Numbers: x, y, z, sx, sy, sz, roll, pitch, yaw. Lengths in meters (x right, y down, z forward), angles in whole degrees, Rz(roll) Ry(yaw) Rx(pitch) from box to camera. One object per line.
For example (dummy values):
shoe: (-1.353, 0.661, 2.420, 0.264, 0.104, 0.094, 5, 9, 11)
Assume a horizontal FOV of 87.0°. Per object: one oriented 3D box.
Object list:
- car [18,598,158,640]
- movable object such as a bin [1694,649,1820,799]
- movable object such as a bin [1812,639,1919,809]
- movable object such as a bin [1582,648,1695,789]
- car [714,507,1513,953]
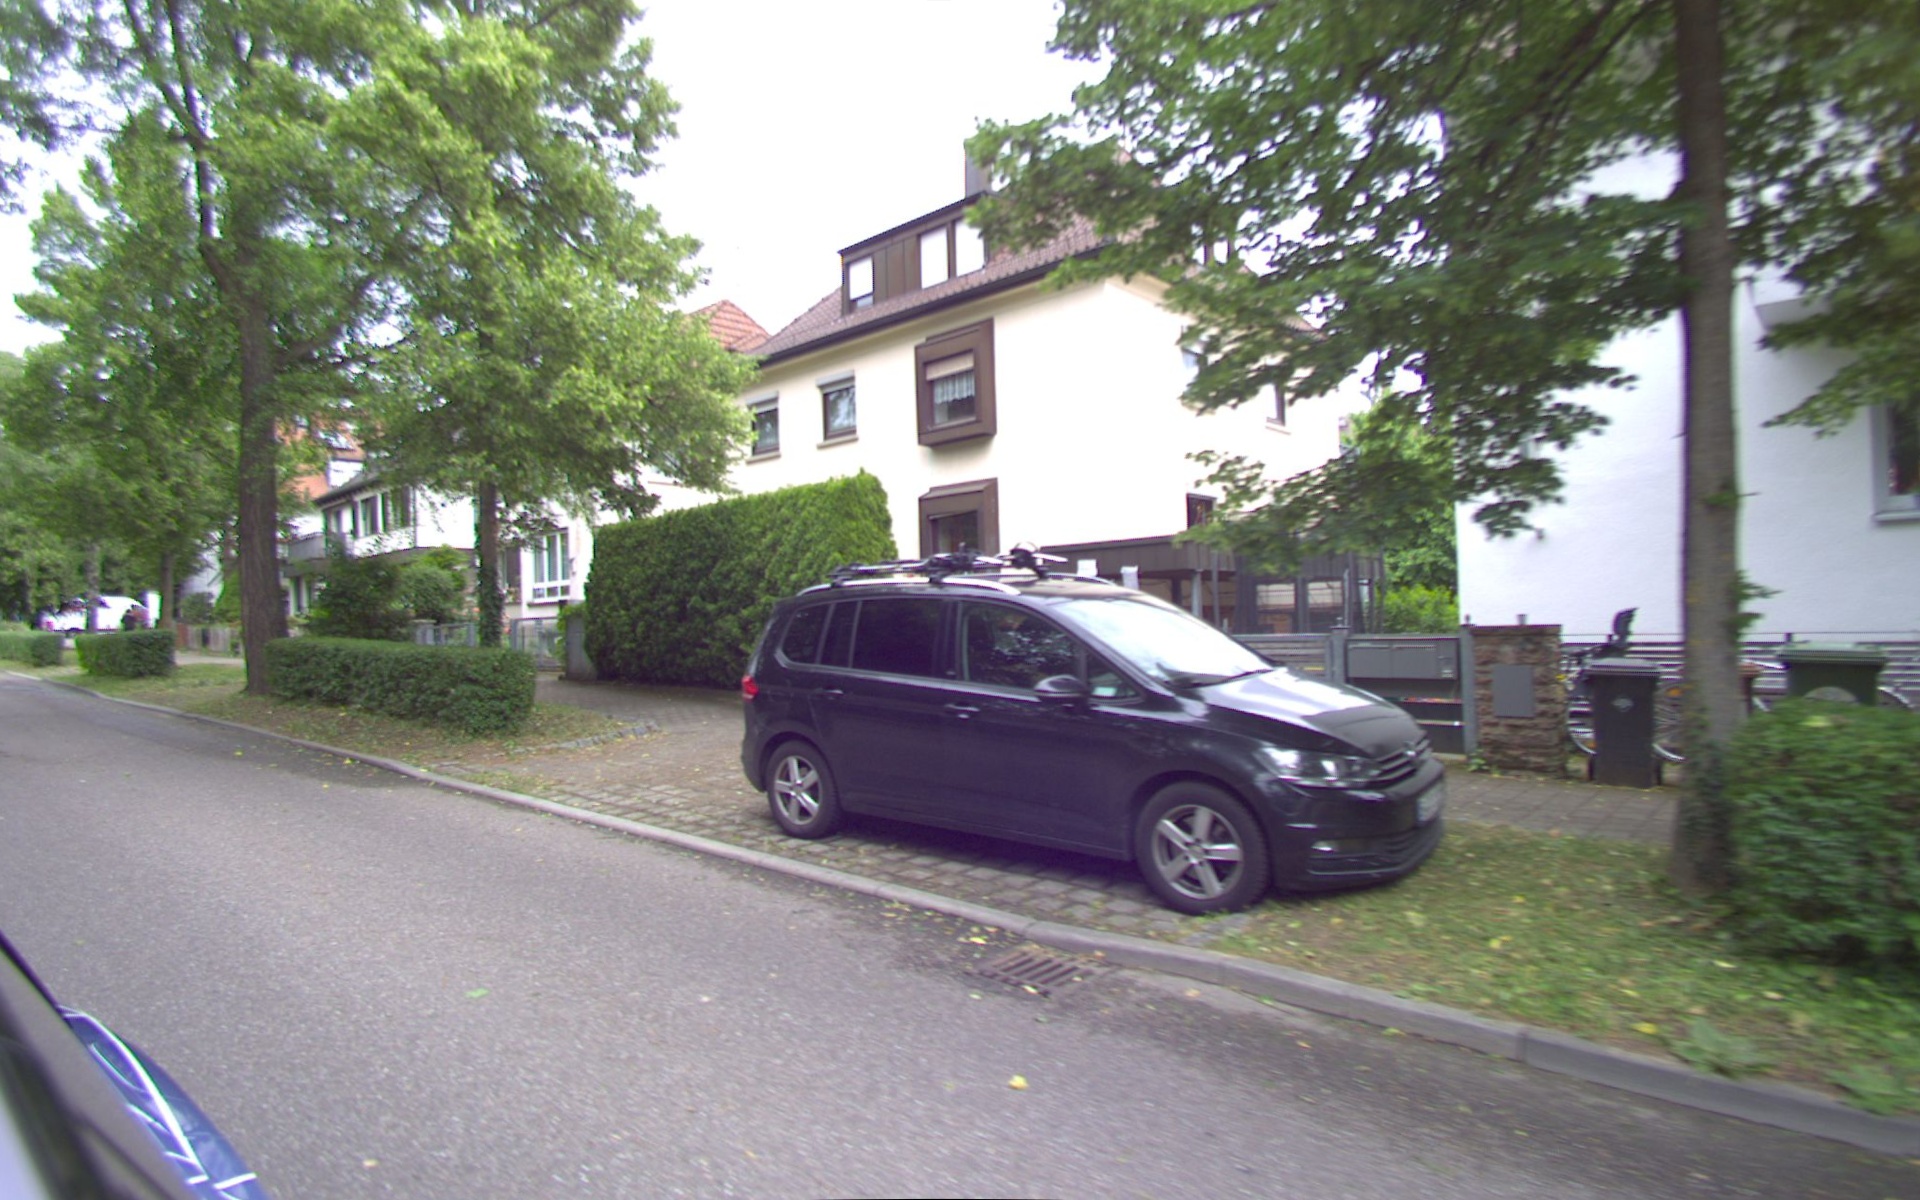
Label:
car: (-52.489, 1.121, 61.143, 1.961, 2.365, 6.330, -1, -1, 19)
movable object such as a bin: (5.463, 0.825, 6.970, 0.639, 0.947, 0.554, -1, -2, 36)
movable object such as a bin: (5.947, 0.776, 6.544, 0.600, 1.033, 0.554, -1, -2, 36)
movable object such as a bin: (4.929, 0.831, 7.356, 0.639, 0.947, 0.554, -1, -2, 36)
car: (0.667, 0.552, 6.115, 4.447, 1.767, 1.807, -2, 0, 38)
